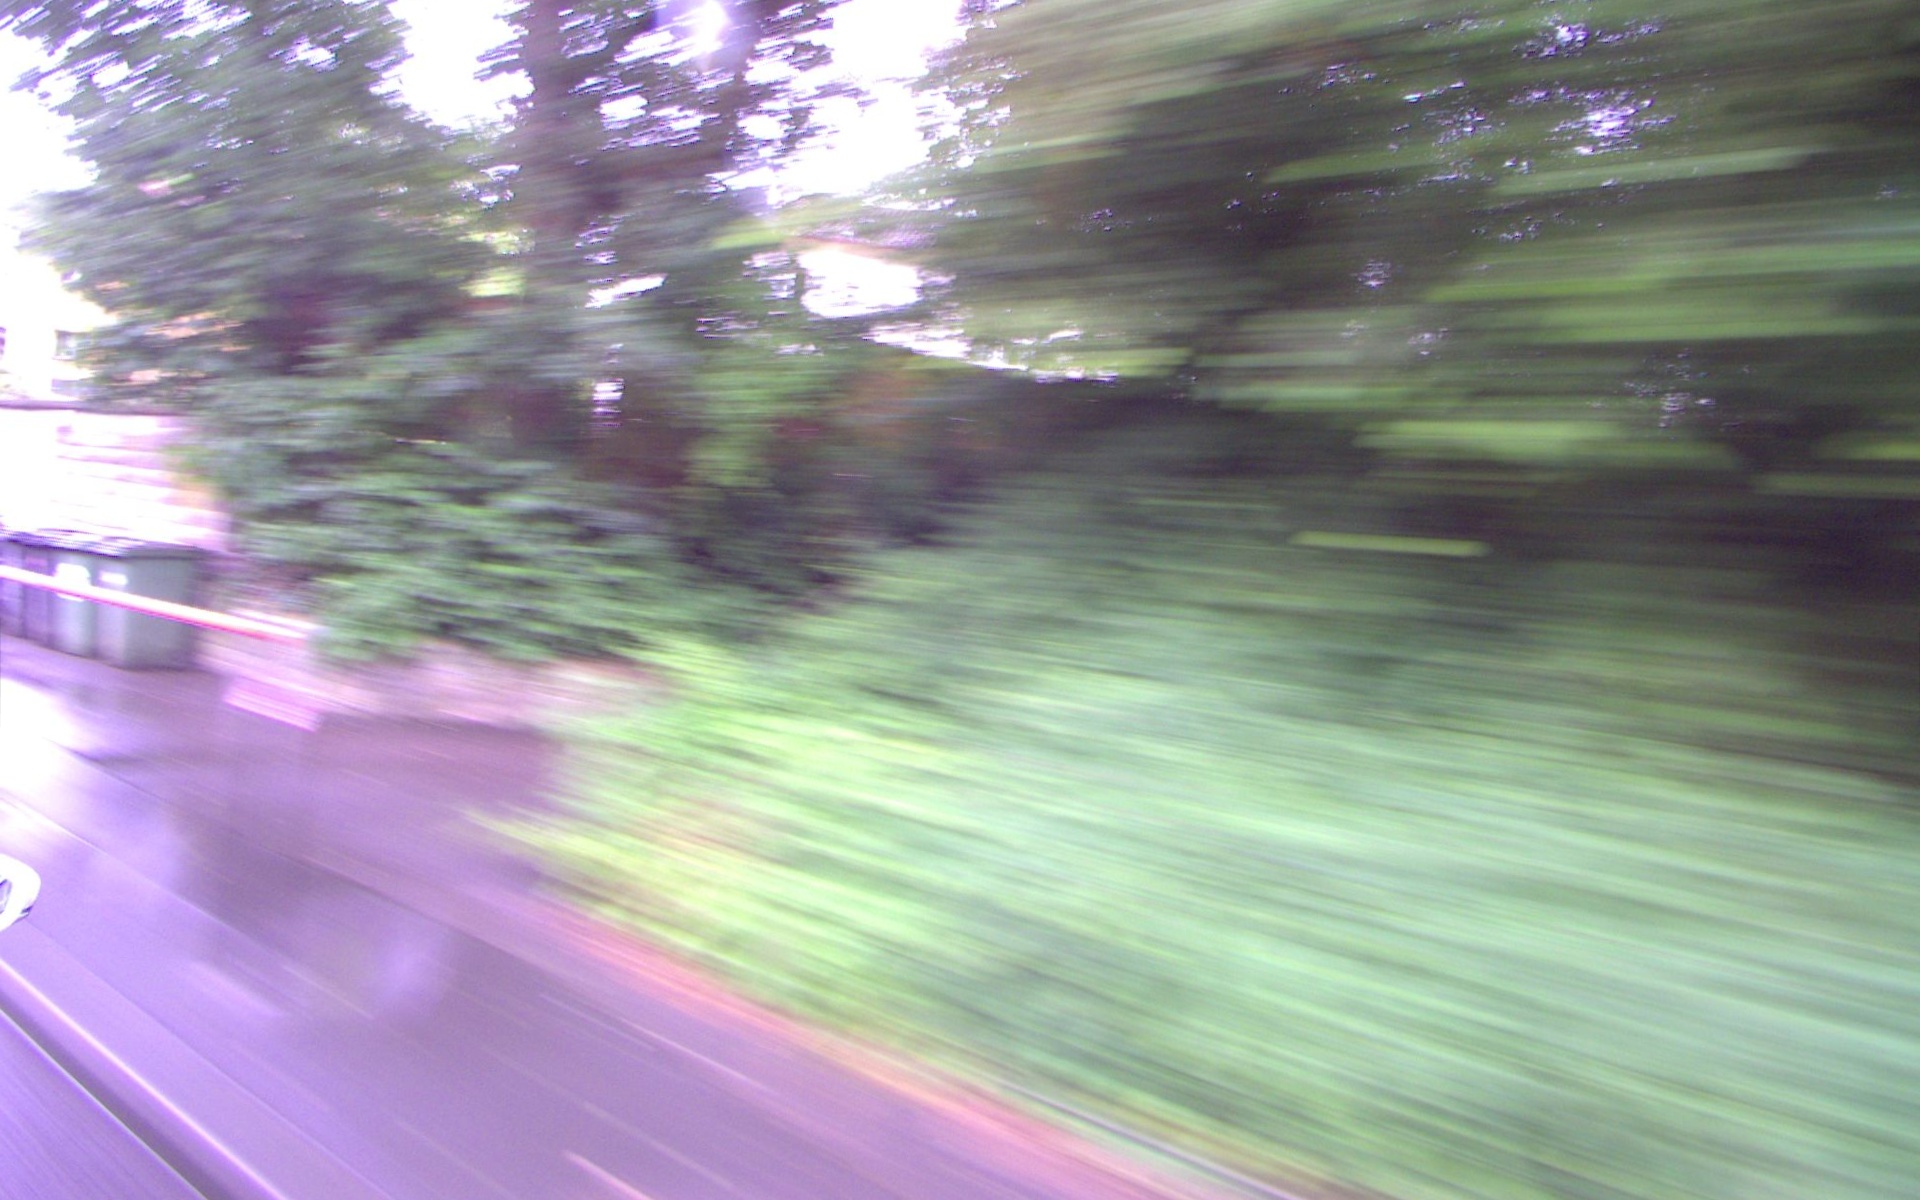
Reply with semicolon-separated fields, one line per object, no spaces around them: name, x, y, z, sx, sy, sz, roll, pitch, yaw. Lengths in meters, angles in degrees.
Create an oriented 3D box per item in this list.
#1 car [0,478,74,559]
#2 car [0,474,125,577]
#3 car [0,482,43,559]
car;-19.886;-1.758;19.813;1.549;1.499;3.287;8;1;30
car;-17.946;-1.509;18.347;1.671;1.649;3.737;6;-2;30
car;-21.894;-1.918;20.926;1.582;1.571;3.777;7;-1;30
